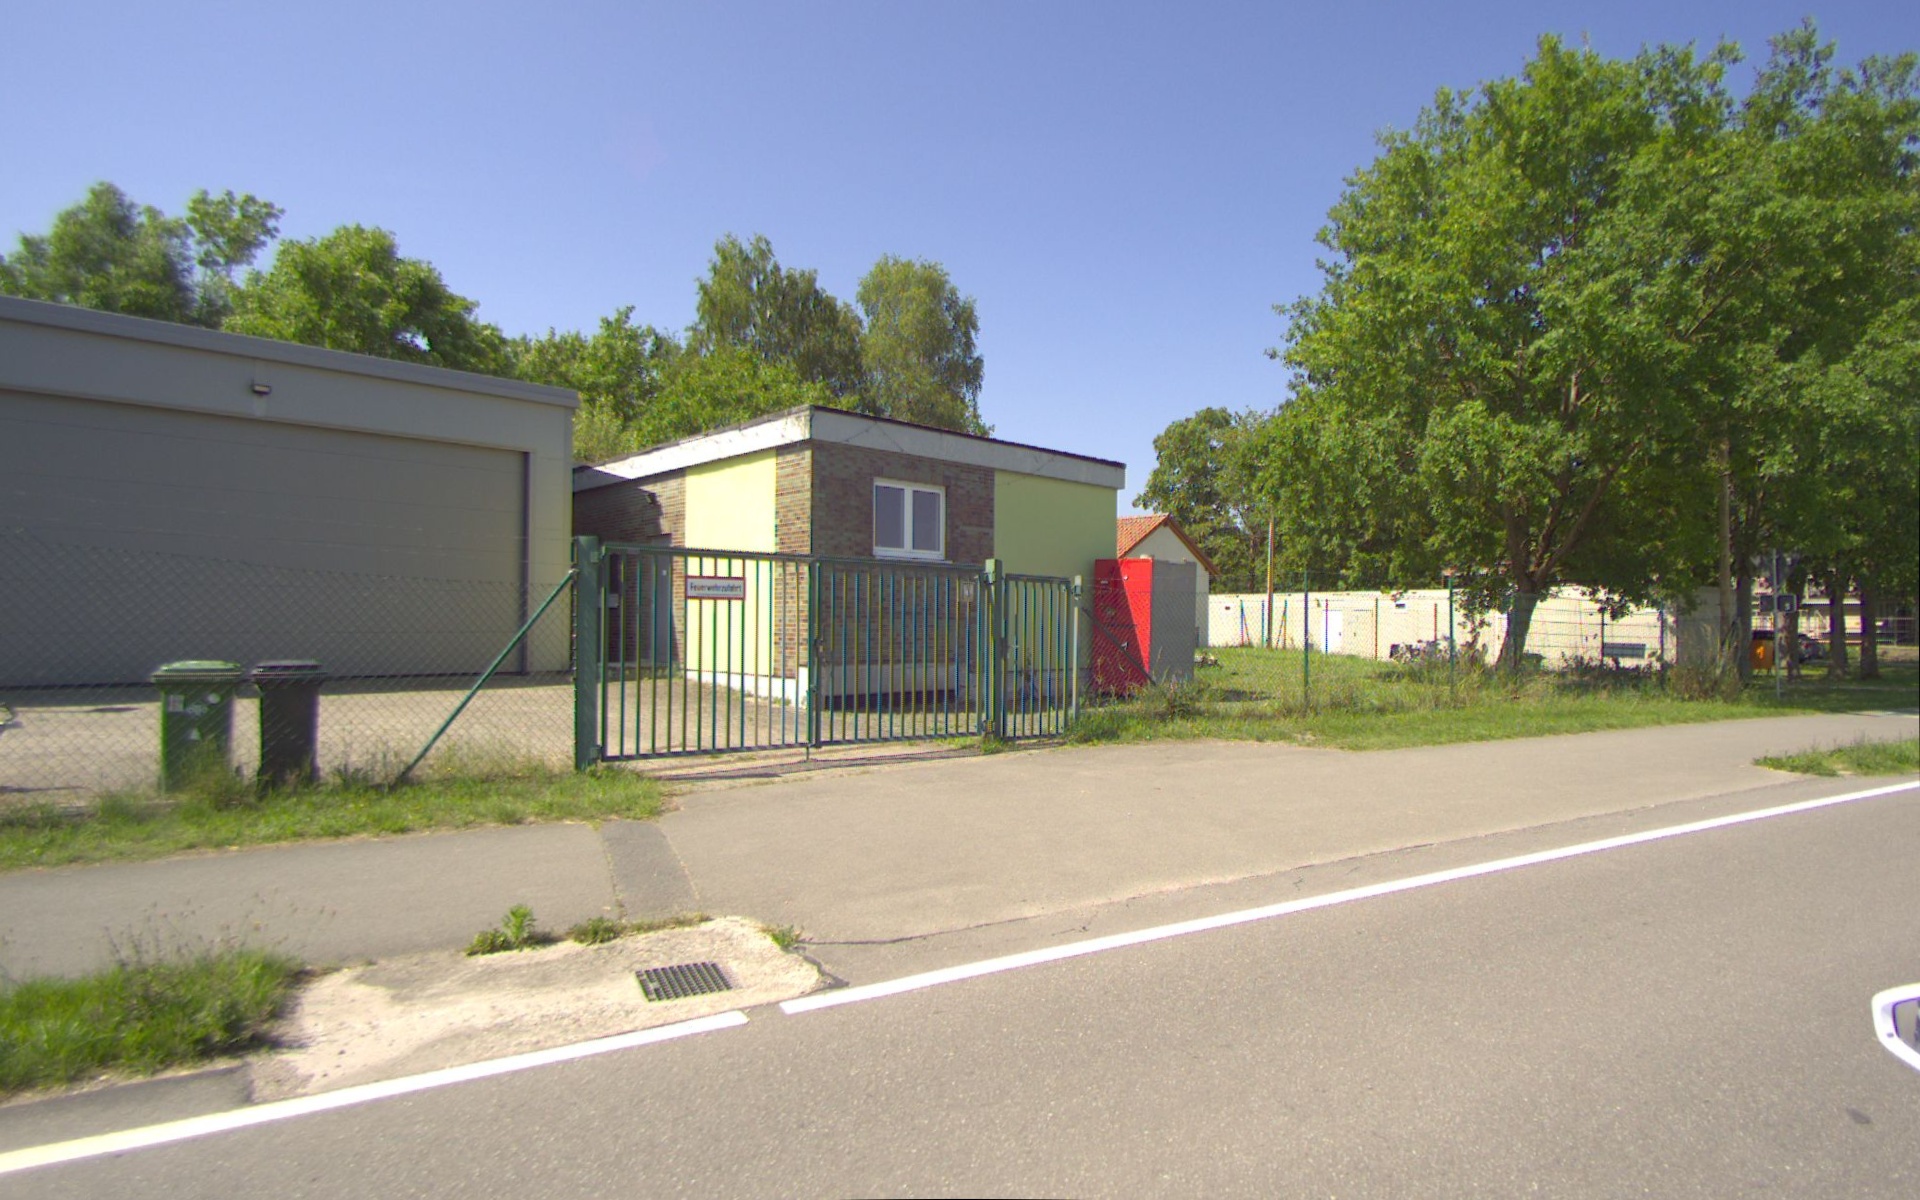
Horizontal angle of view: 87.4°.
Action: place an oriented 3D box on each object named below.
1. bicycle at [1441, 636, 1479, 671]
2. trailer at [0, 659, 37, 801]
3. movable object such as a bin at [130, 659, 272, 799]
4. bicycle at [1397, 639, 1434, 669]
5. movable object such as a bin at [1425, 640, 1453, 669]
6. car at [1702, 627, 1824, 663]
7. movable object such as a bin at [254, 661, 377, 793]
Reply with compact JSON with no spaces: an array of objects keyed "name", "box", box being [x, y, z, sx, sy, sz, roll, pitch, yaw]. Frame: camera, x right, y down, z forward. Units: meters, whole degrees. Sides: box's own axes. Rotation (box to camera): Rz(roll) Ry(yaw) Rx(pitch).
[{"name":"bicycle","box":[18.396,1.957,36.984,0.419,1.229,1.233,1,-2,-32]},{"name":"trailer","box":[-7.888,0.842,5.989,3.326,0.878,1.619,1,-2,-37]},{"name":"movable object such as a bin","box":[-5.224,0.863,6.956,0.645,0.887,0.637,1,-1,-25]},{"name":"bicycle","box":[17.392,2.045,38.353,0.500,1.096,1.234,1,-2,-31]},{"name":"movable object such as a bin","box":[17.371,1.982,36.445,0.657,1.027,0.690,1,-2,-34]},{"name":"car","box":[34.061,1.884,42.689,1.743,1.417,3.772,1,-2,-37]},{"name":"movable object such as a bin","box":[-4.615,0.887,7.238,0.645,0.866,0.637,1,-1,-25]}]
